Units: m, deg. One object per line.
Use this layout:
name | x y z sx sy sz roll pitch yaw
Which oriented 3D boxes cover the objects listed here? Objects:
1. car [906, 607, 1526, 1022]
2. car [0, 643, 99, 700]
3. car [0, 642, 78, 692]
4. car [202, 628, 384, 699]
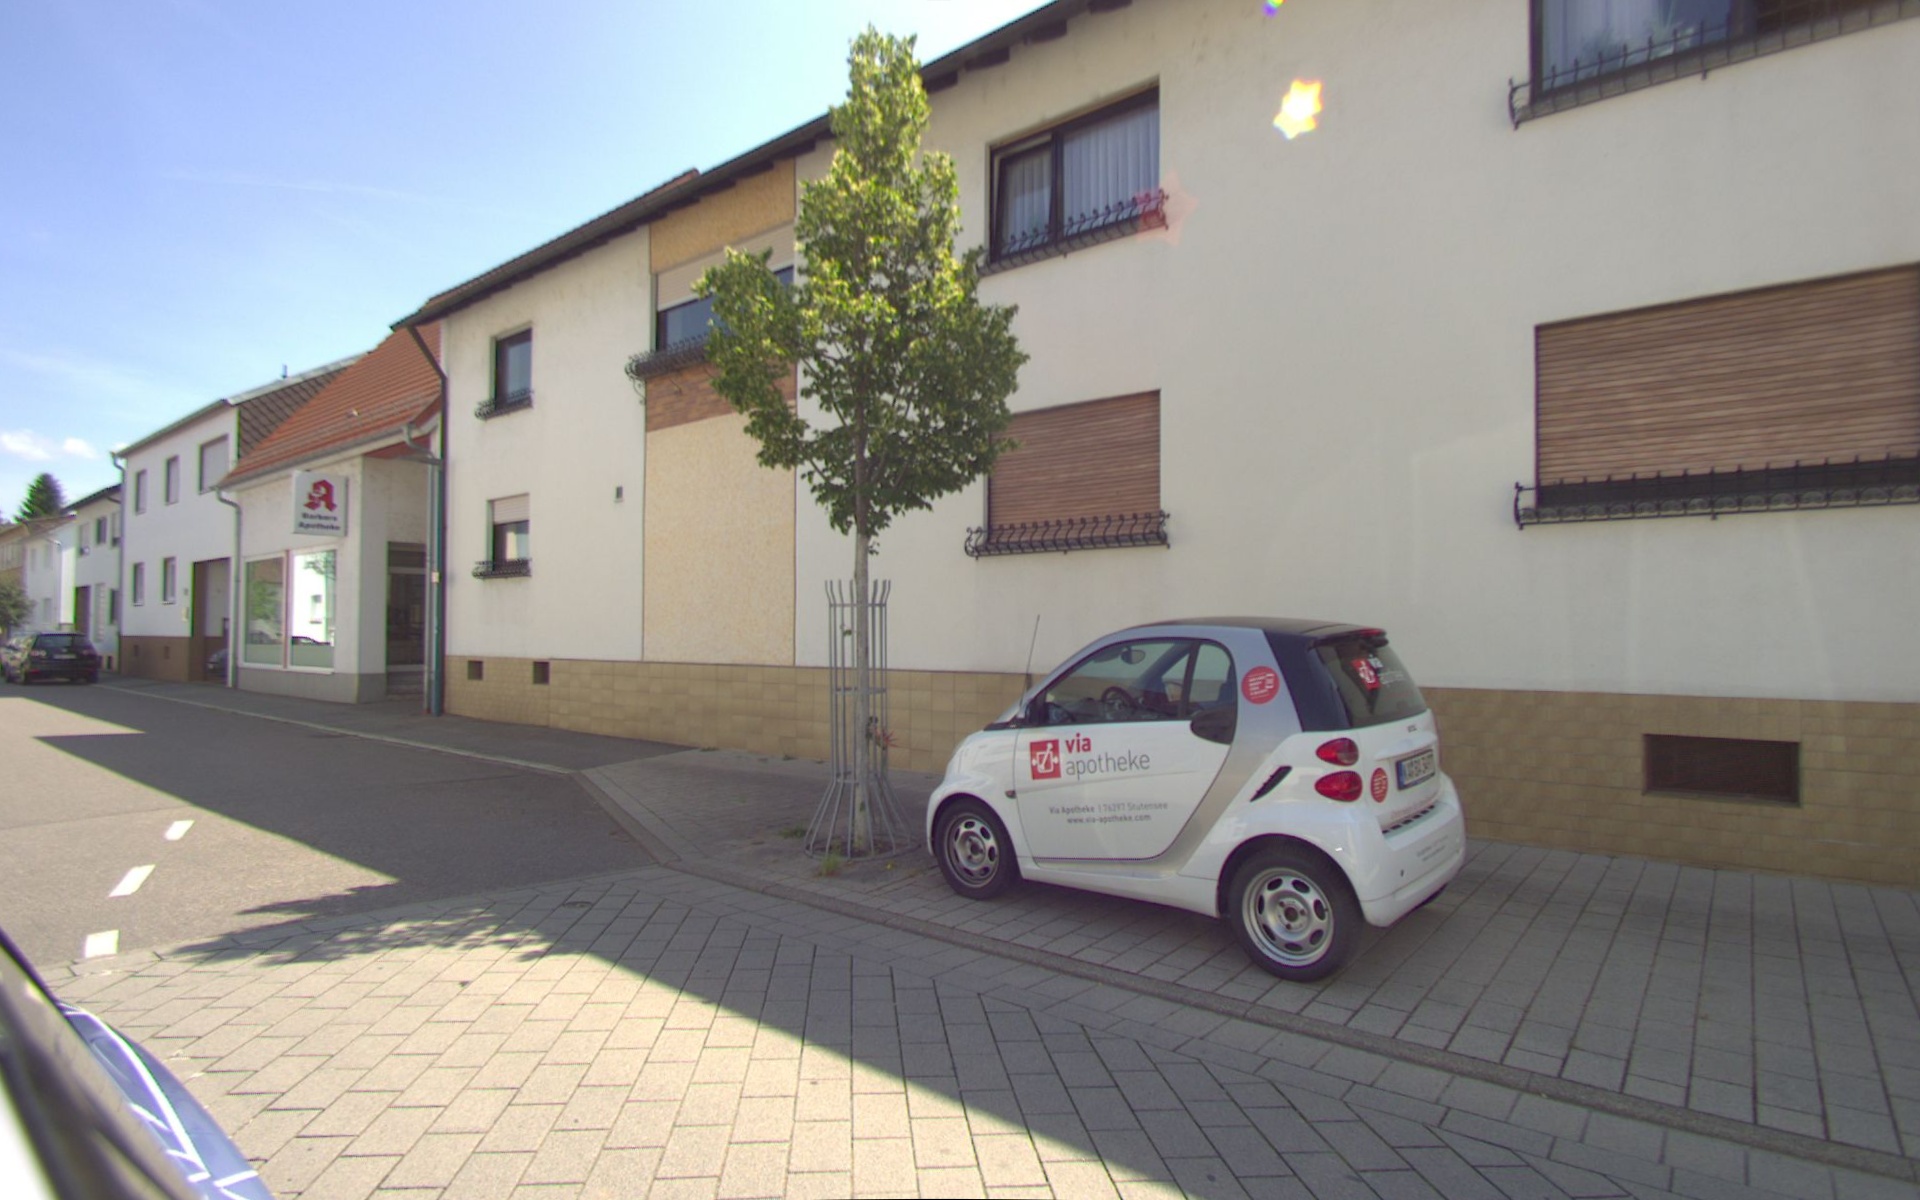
car | 1.255 0.860 5.450 2.822 1.573 1.555 -2 0 43
car | -27.651 2.111 30.630 3.951 1.578 1.730 -2 -3 39
car | -32.672 2.309 35.694 4.118 1.630 1.736 -2 -3 41
car | -18.683 1.722 28.464 1.814 1.731 3.945 -2 -1 42
